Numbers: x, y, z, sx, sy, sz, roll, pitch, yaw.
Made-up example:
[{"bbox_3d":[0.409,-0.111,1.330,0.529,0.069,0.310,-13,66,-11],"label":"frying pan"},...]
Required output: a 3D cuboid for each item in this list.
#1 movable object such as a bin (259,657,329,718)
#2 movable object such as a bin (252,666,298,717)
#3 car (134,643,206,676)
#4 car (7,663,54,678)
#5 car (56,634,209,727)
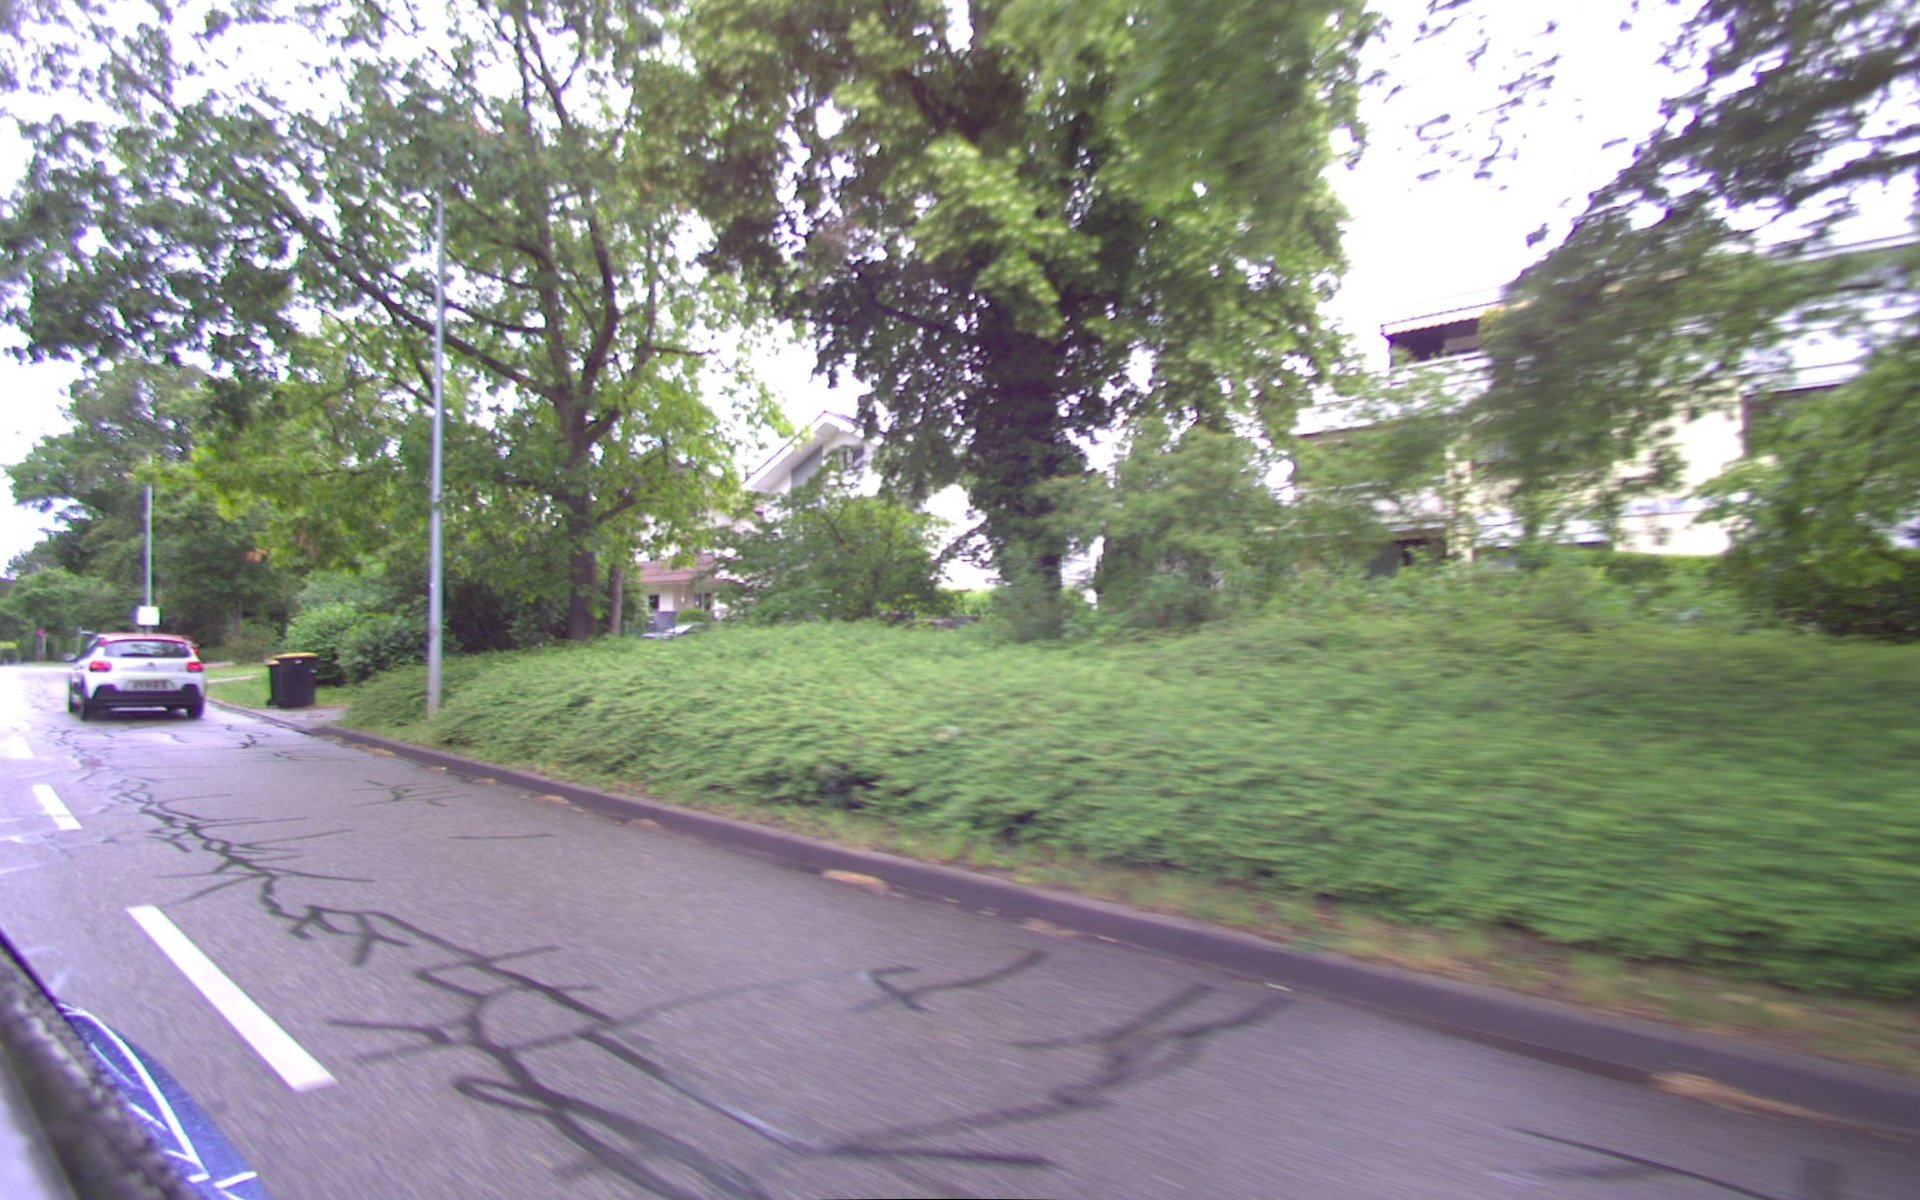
[{"bbox_3d":[-13.141,1.709,19.966,1.025,1.113,0.967,0,-2,-42],"label":"movable object such as a bin"},{"bbox_3d":[-13.816,1.841,20.421,0.640,0.987,0.578,5,-6,-42],"label":"movable object such as a bin"},{"bbox_3d":[-40.298,3.043,51.623,3.995,1.528,1.974,-1,-5,39],"label":"car"},{"bbox_3d":[-109.738,8.282,119.498,1.815,1.599,3.814,-4,-3,38],"label":"car"},{"bbox_3d":[-14.987,1.416,18.260,3.733,1.488,1.647,-3,-6,44],"label":"car"}]
